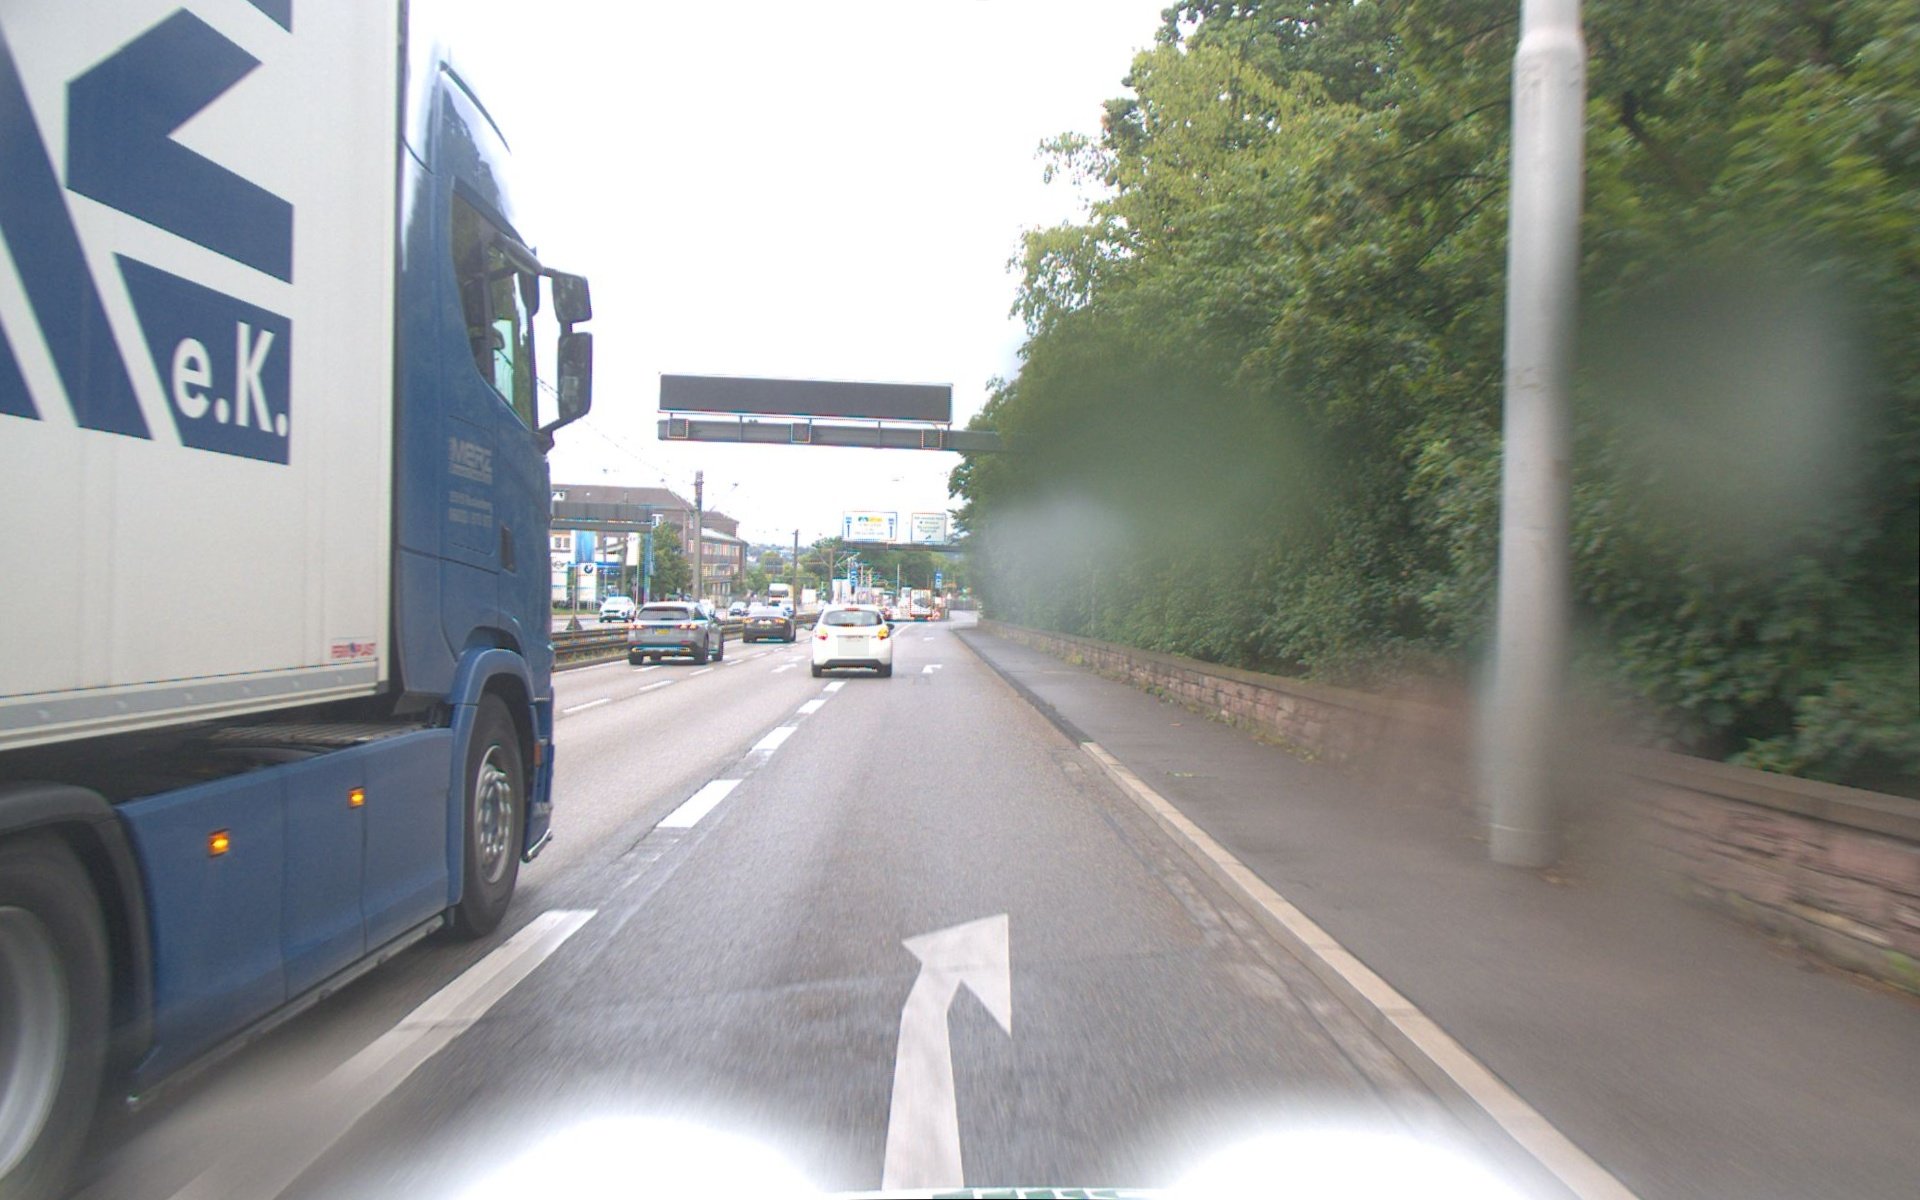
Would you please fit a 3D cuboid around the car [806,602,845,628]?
[{"bbox_3d":[-8.405,0.977,103.879,1.952,1.603,4.001,0,-1,3],"label":"car"}]

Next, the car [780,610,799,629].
[{"bbox_3d":[-20.801,2.371,201.979,1.953,2.049,3.998,2,-3,-1],"label":"car"}]

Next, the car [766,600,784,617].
[{"bbox_3d":[-25.522,1.126,228.327,1.953,2.049,3.998,2,-3,-1],"label":"car"}]

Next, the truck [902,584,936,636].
[{"bbox_3d":[-4.941,1.305,200.657,3.393,5.496,12.050,2,-3,1],"label":"truck"}]

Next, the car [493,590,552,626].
[{"bbox_3d":[-22.199,0.440,84.051,1.953,1.691,3.998,2,-1,-1],"label":"car"}]

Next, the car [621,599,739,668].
[{"bbox_3d":[-6.849,0.807,40.833,1.782,1.593,4.095,-1,-1,7],"label":"car"}]

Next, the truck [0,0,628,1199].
[{"bbox_3d":[-3.180,-0.677,5.490,2.705,4.270,6.785,0,0,1],"label":"truck"}]

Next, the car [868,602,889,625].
[{"bbox_3d":[-8.156,1.395,165.328,1.953,2.049,3.998,2,-3,-1],"label":"car"}]

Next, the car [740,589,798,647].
[{"bbox_3d":[-7.283,0.659,63.280,1.686,1.924,3.537,1,3,2],"label":"car"}]

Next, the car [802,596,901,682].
[{"bbox_3d":[-2.286,0.774,35.217,1.917,1.513,3.998,2,2,-3],"label":"car"}]

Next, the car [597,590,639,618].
[{"bbox_3d":[-22.532,0.274,109.021,1.953,1.691,3.998,2,-1,-1],"label":"car"}]
